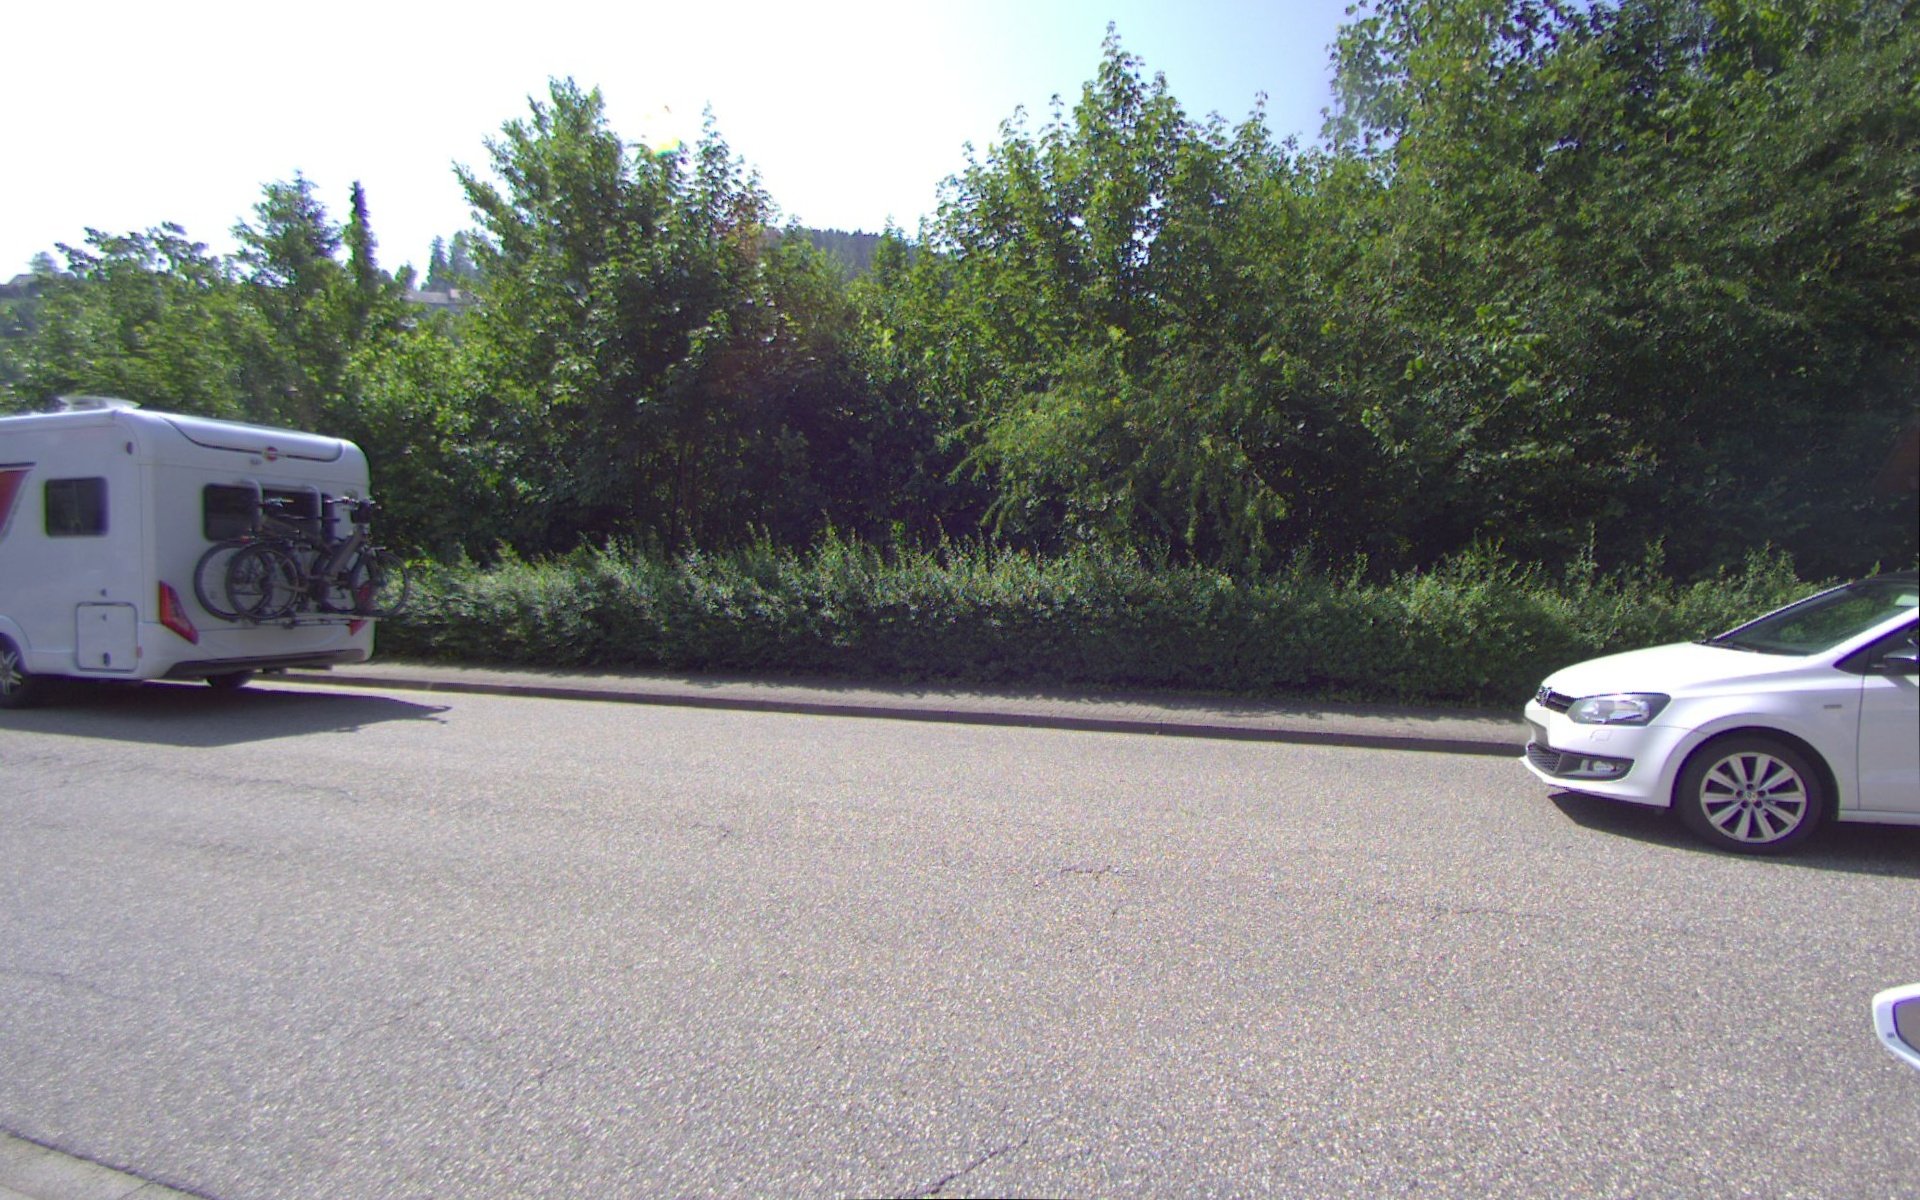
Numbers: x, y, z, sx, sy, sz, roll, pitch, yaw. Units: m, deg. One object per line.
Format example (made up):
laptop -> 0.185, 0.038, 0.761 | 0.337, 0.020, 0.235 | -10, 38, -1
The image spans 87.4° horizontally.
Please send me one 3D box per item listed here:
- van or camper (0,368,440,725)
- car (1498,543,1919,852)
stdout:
van or camper -> -9.653, -0.509, 10.891 | 7.892, 2.993, 2.365 | 1, 2, 20
car -> 5.107, 0.466, 5.298 | 3.751, 1.424, 1.610 | 2, 1, 19
